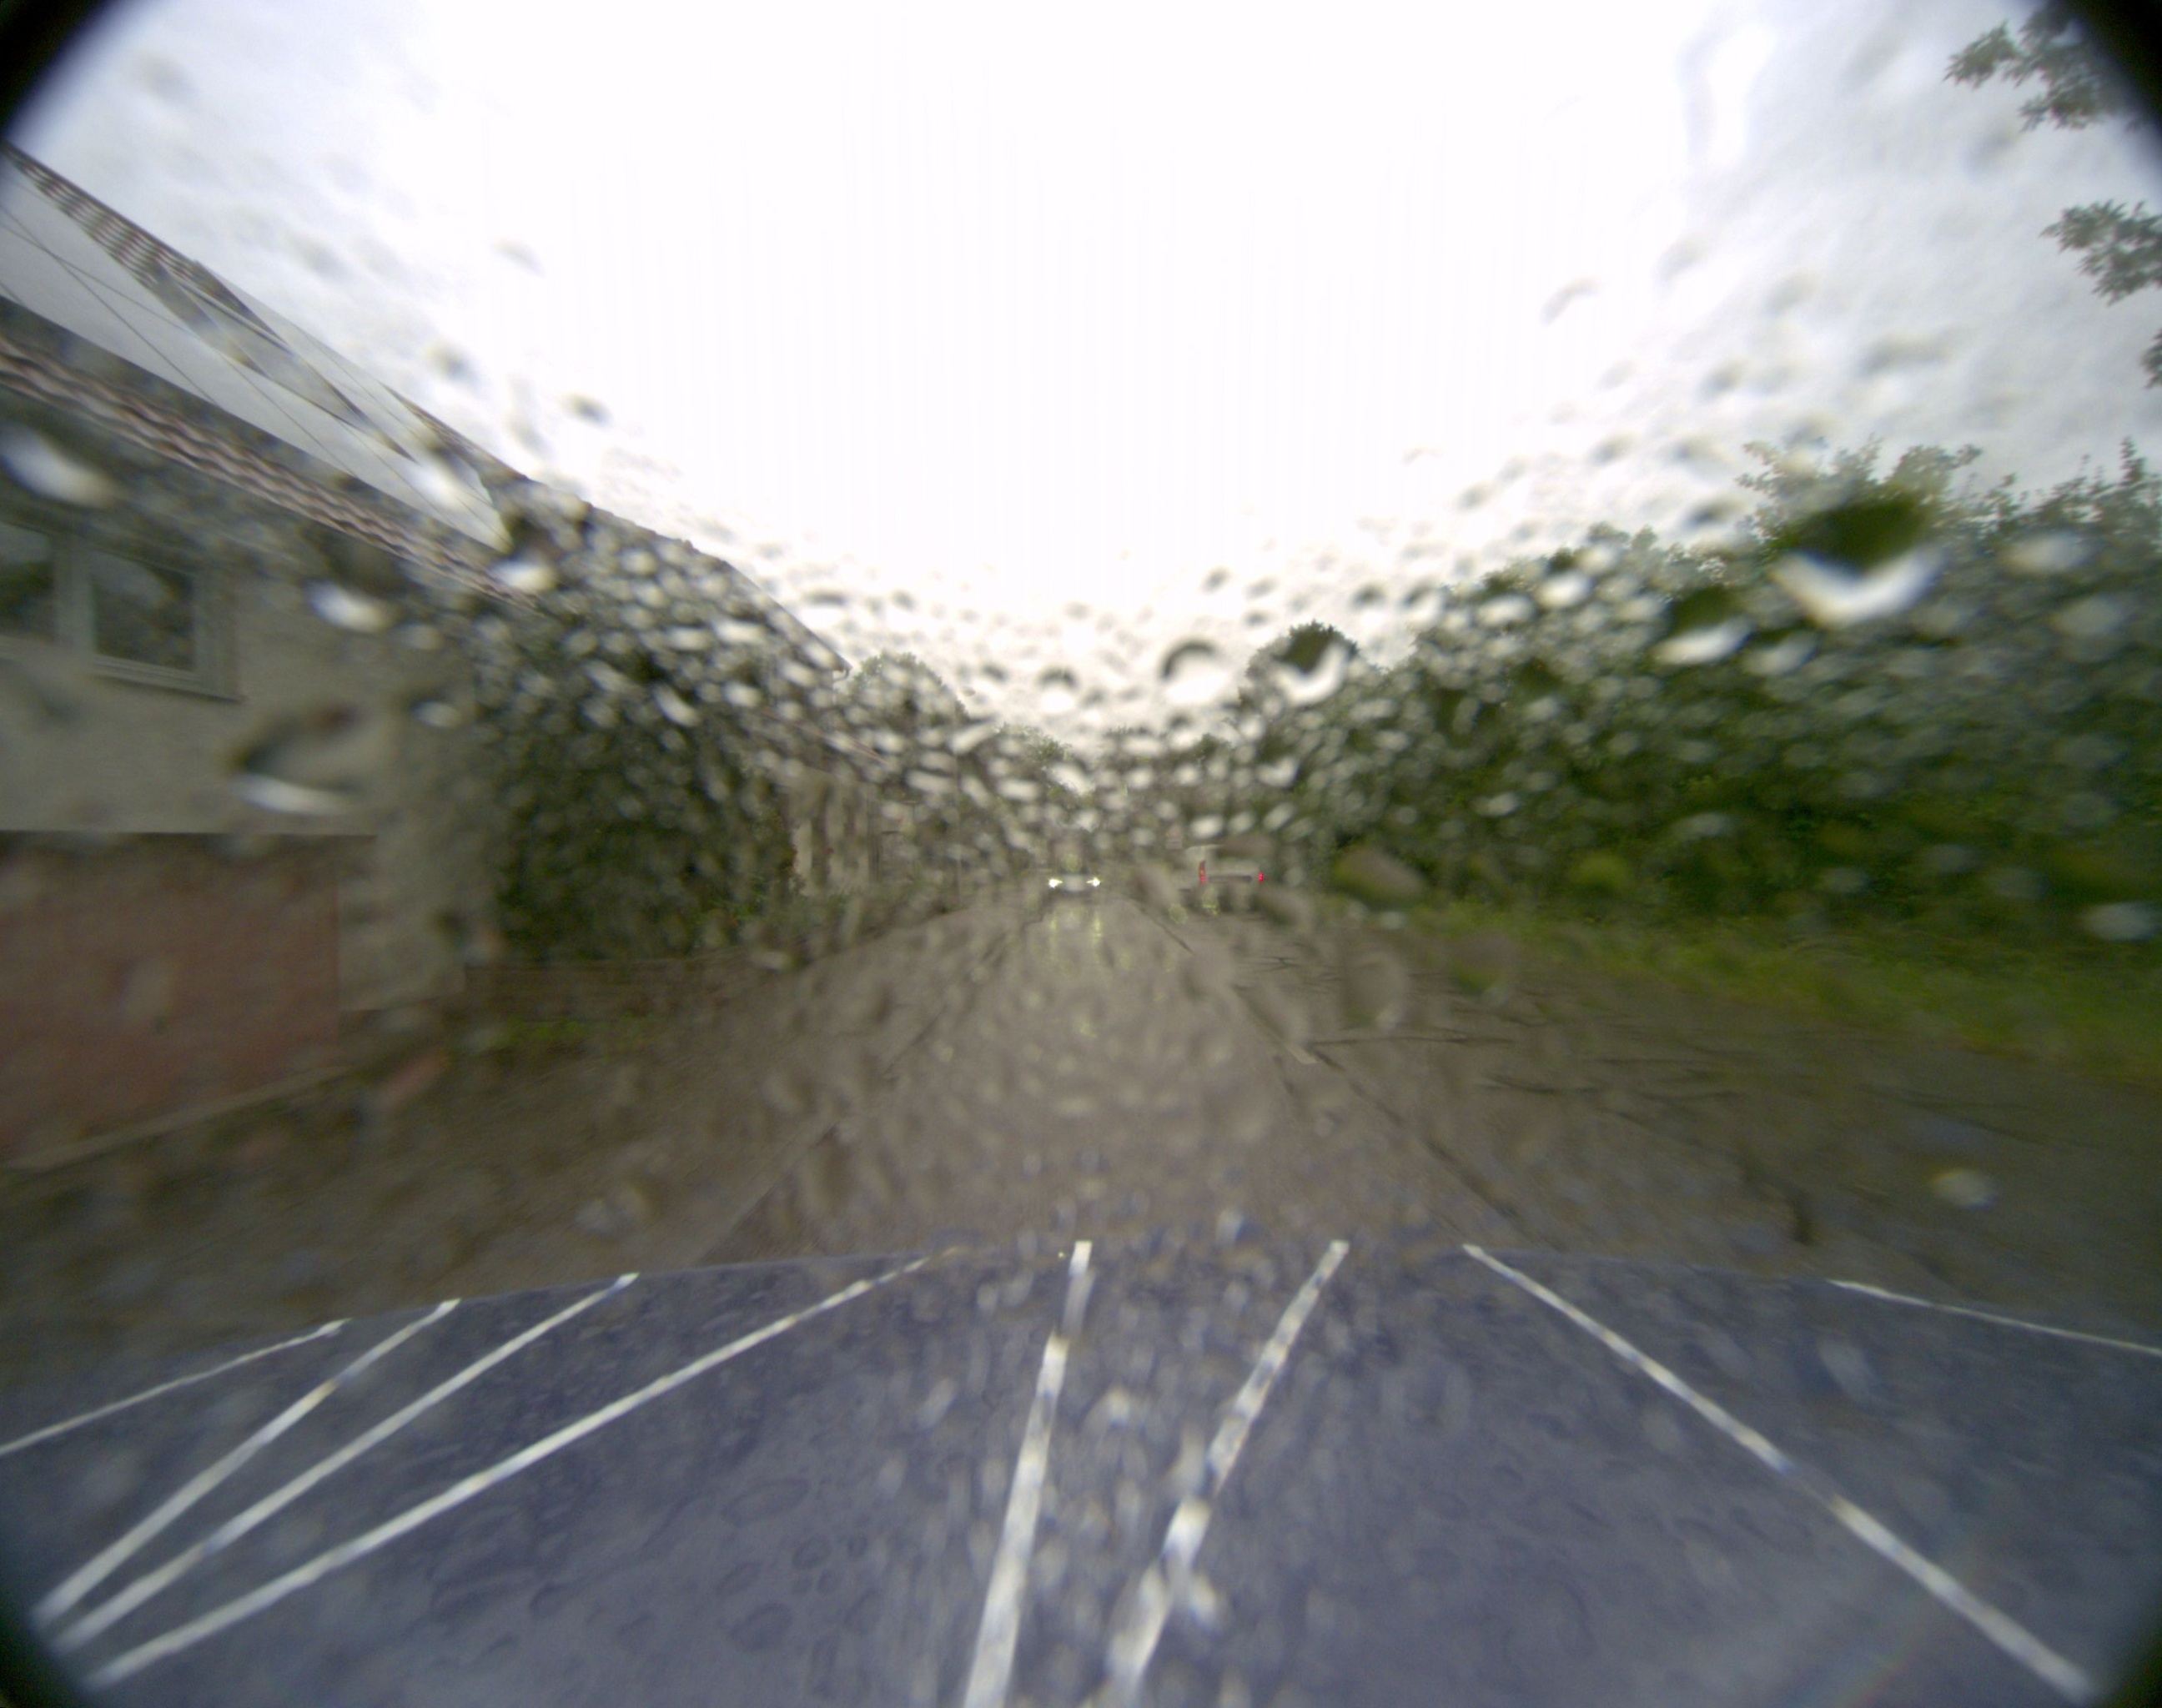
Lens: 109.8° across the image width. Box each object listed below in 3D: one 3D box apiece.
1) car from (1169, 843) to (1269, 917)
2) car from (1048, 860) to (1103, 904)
[{"bbox_3d":[3.816,0.649,21.675,1.837,1.853,3.953,-2,1,-4],"label":"car"},{"bbox_3d":[-0.149,0.958,27.431,1.766,1.316,4.549,-2,0,1],"label":"car"}]
